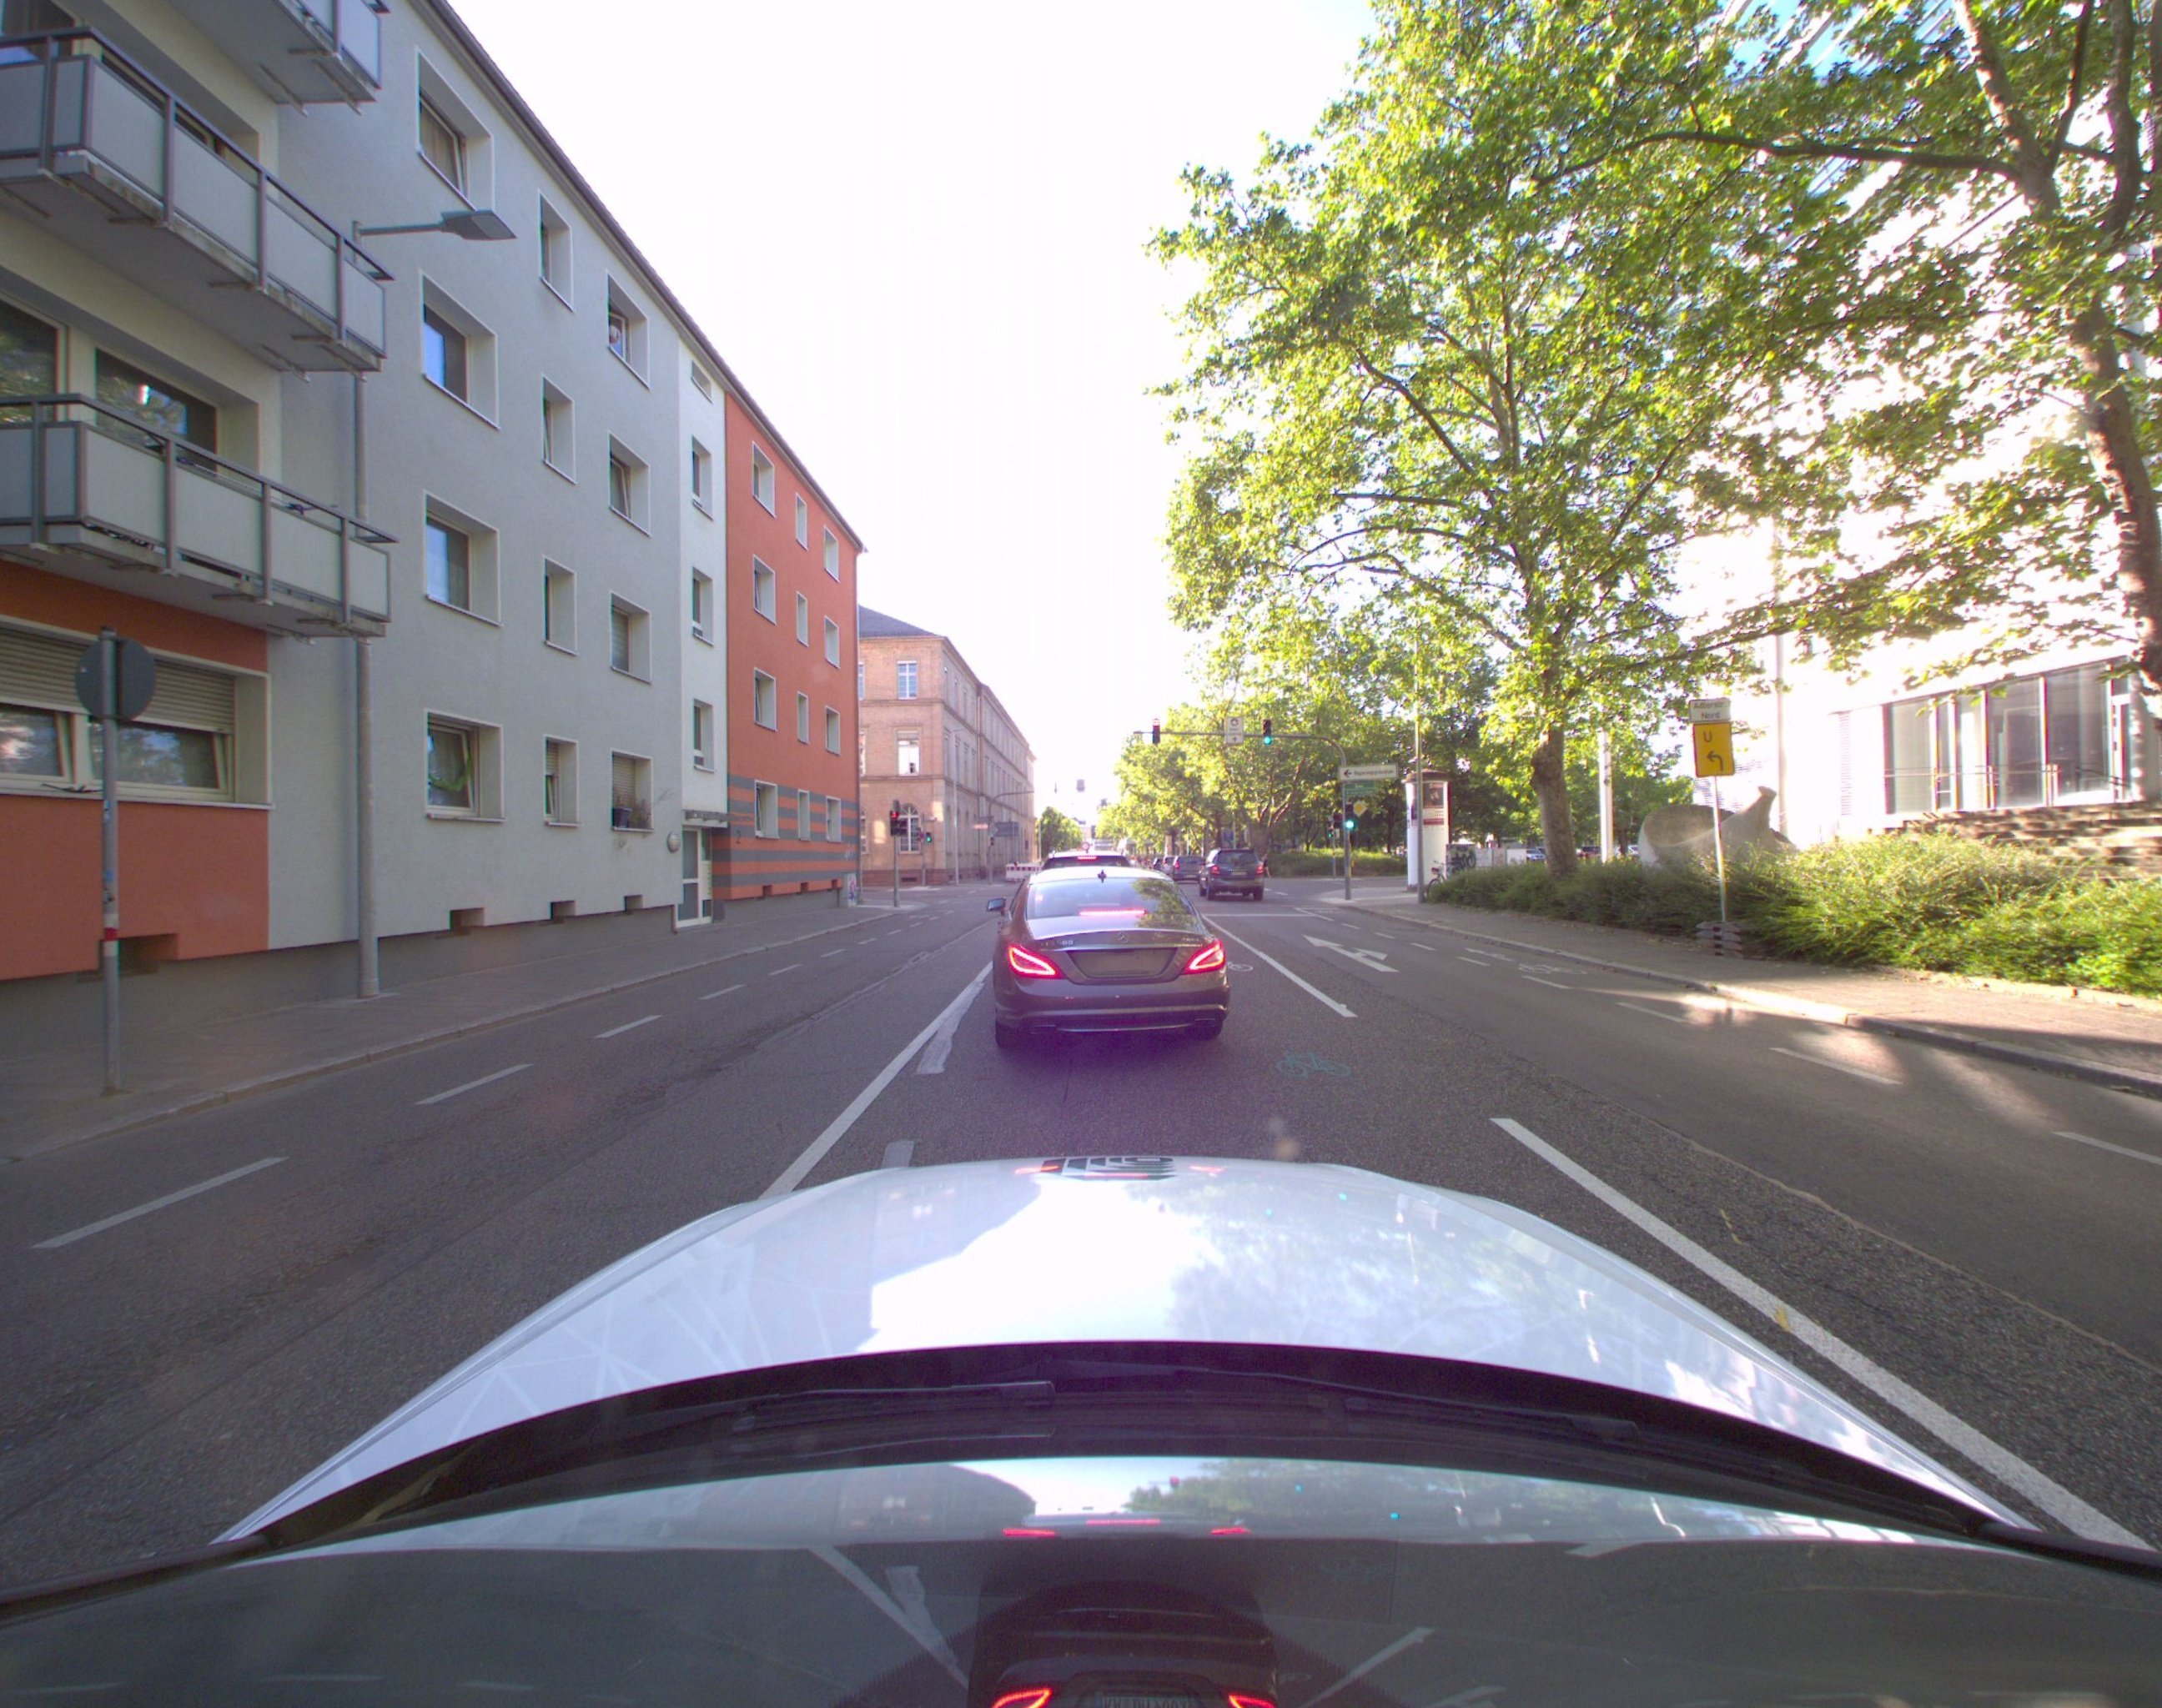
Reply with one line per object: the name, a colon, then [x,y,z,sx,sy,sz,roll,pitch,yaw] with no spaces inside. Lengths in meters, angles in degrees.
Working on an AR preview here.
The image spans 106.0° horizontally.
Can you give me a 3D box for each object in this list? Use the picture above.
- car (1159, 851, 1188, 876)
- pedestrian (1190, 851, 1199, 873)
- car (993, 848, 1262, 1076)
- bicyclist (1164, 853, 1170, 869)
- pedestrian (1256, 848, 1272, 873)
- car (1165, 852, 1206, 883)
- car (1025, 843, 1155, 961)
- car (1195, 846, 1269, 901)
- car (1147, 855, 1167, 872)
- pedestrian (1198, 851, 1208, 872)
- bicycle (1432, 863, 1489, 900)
car: [6.503,0.653,57.651,1.725,1.662,3.682,0,-1,2]
pedestrian: [9.381,0.657,67.250,0.634,1.797,0.698,0,-1,-2]
car: [0.149,0.734,7.592,1.859,1.519,3.992,-1,0,-6]
bicyclist: [11.104,0.849,105.021,0.593,2.039,0.566,0,-1,-3]
pedestrian: [11.170,0.385,49.730,0.636,1.545,0.907,0,-1,-11]
car: [5.411,0.682,42.484,1.698,1.519,4.002,-1,0,2]
car: [0.197,0.693,13.727,1.854,1.682,4.002,-1,0,2]
car: [5.162,0.631,28.340,1.854,1.764,4.483,-1,0,2]
car: [7.018,0.864,75.069,1.595,1.549,3.682,0,-1,2]
pedestrian: [10.059,0.636,67.241,0.634,1.760,0.698,0,-1,-2]
bicycle: [10.988,0.776,23.566,1.895,1.028,0.635,0,-1,-36]
